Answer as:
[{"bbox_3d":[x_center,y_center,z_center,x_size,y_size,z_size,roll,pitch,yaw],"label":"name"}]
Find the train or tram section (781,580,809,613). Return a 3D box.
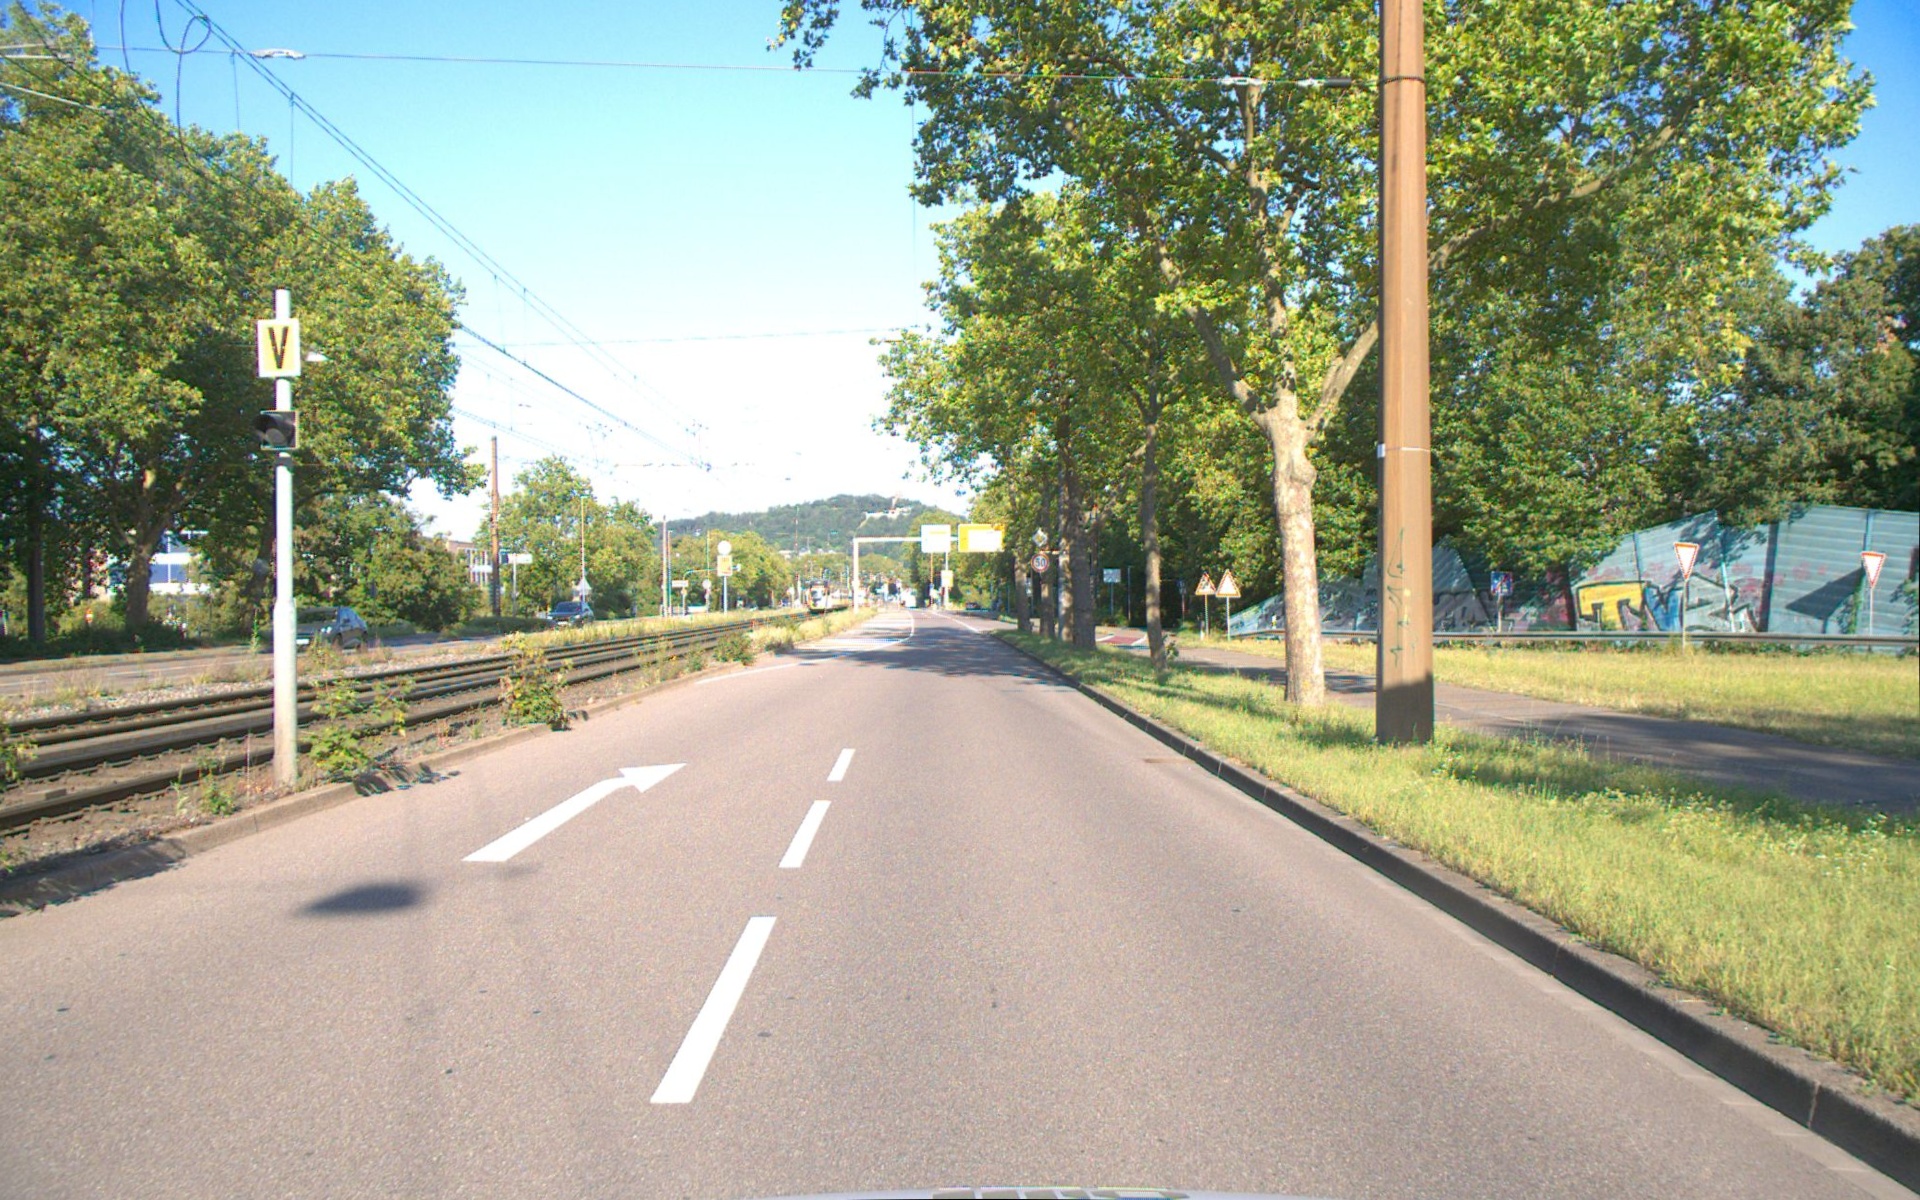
[{"bbox_3d":[-20.531,-0.357,206.218,2.748,3.971,12.325,1,0,-3],"label":"train or tram section"}]

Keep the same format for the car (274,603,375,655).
[{"bbox_3d":[-19.945,0.881,52.087,1.677,1.493,4.344,-3,0,-3],"label":"car"}]

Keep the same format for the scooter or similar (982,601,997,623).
[{"bbox_3d":[3.714,1.464,210.080,1.647,2.763,4.867,0,0,-2],"label":"scooter or similar"}]

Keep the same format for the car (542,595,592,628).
[{"bbox_3d":[-22.012,0.650,92.877,1.861,1.724,4.937,-2,0,-4],"label":"car"}]
